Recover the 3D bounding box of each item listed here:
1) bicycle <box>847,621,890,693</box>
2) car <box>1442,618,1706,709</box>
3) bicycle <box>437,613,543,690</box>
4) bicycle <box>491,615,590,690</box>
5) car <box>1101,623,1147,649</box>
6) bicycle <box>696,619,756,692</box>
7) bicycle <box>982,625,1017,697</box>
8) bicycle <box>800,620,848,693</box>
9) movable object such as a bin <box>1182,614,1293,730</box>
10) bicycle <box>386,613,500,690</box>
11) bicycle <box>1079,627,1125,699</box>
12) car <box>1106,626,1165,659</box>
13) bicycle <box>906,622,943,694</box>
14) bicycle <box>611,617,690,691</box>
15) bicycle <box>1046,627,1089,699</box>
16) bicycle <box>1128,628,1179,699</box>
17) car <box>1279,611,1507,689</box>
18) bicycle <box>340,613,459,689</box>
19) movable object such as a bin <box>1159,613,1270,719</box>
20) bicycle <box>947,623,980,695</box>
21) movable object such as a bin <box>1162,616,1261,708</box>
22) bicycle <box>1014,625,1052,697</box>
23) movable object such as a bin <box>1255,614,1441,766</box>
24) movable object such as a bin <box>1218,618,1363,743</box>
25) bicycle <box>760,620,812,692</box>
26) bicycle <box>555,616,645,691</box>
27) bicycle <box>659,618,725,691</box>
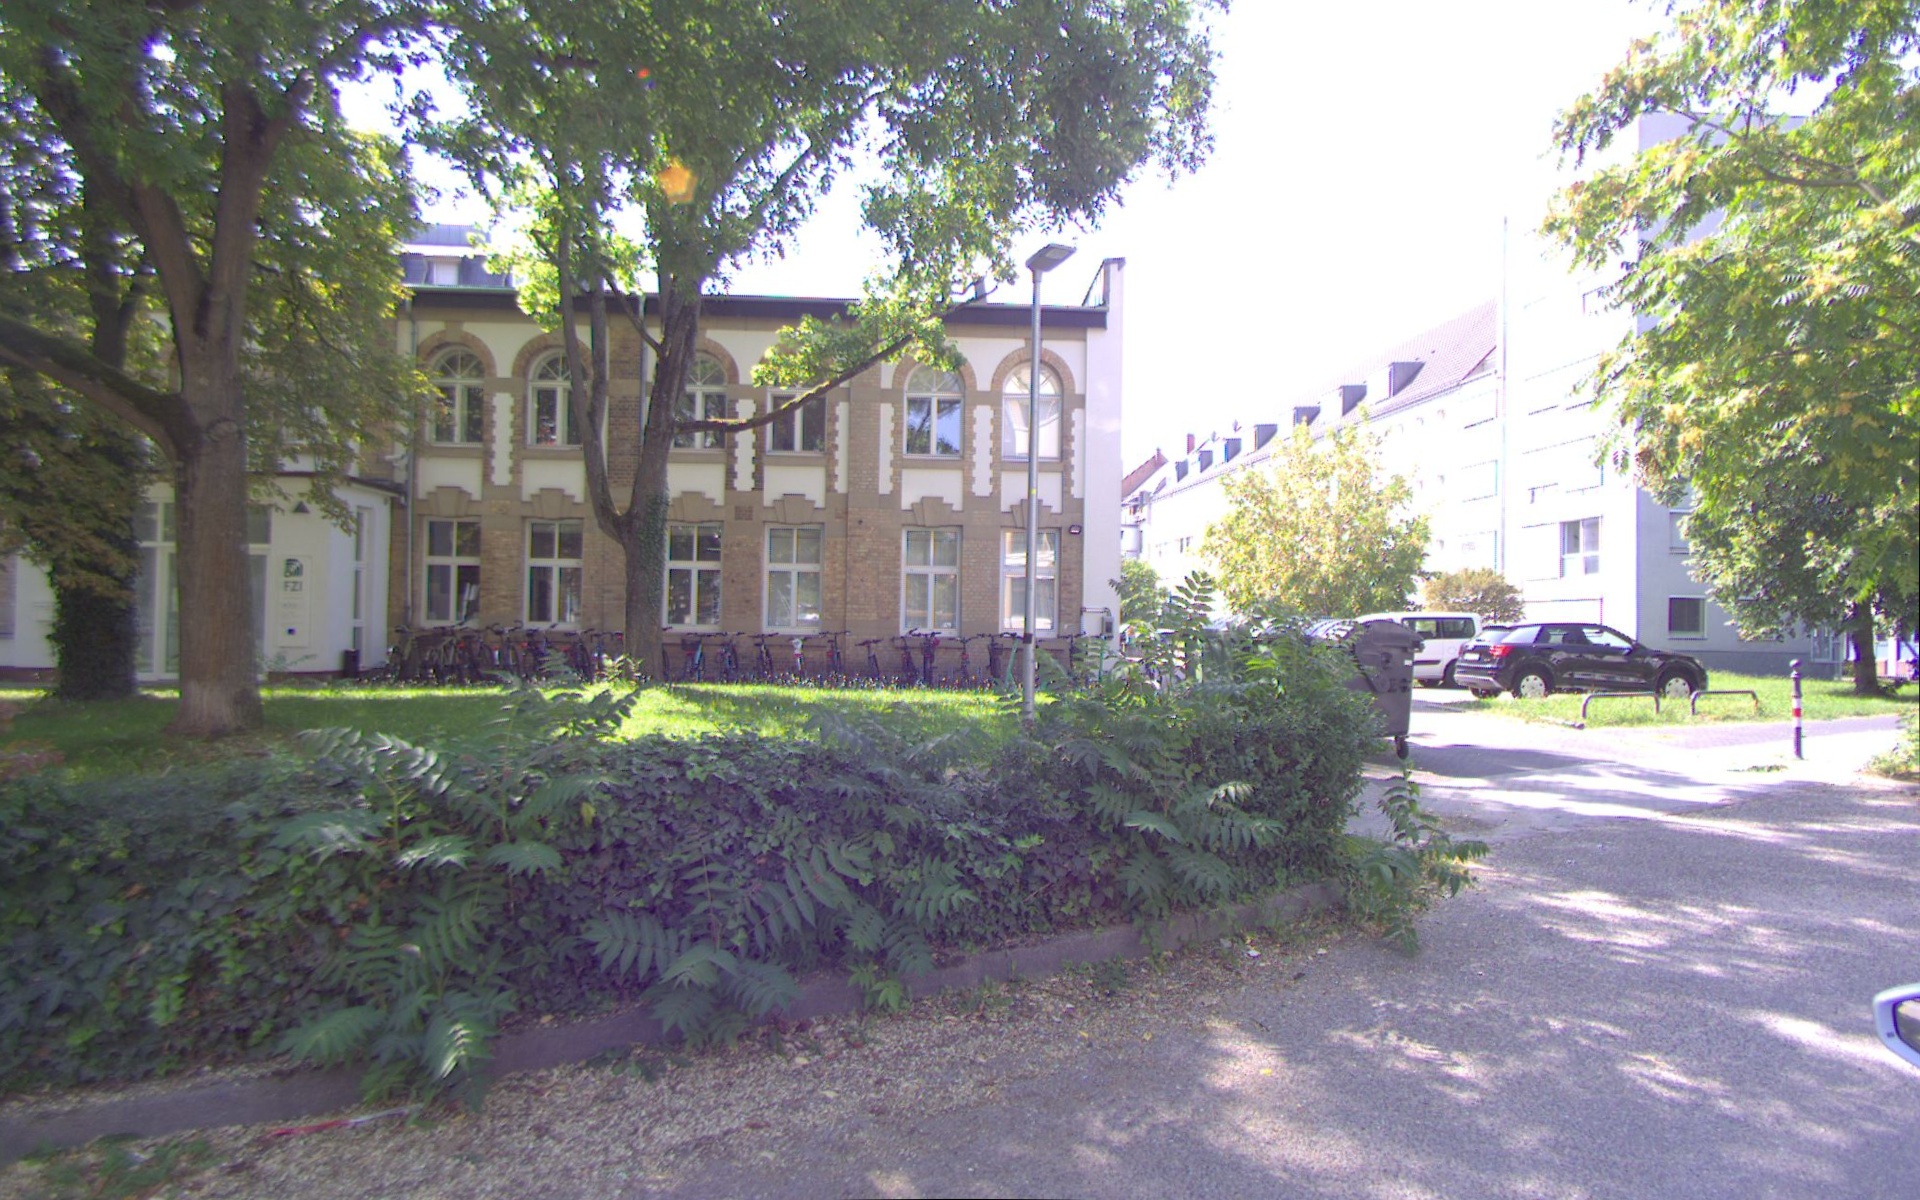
[{"bbox_3d":[-1.759,1.086,19.504,0.597,1.320,2.174,1,-2,0],"label":"bicycle"},{"bbox_3d":[11.298,1.141,18.688,3.834,1.548,1.708,1,-1,3],"label":"car"},{"bbox_3d":[-8.738,0.945,18.816,0.756,1.320,2.527,1,-2,0],"label":"bicycle"},{"bbox_3d":[-7.853,0.974,18.955,0.756,1.320,2.527,1,-2,0],"label":"bicycle"},{"bbox_3d":[10.270,2.281,63.021,1.767,1.530,3.996,1,-2,-8],"label":"car"},{"bbox_3d":[-4.500,1.056,19.460,0.597,1.320,2.174,1,-2,0],"label":"bicycle"},{"bbox_3d":[0.742,1.159,19.559,0.597,1.320,2.174,1,-2,0],"label":"bicycle"},{"bbox_3d":[-2.611,1.069,19.445,0.597,1.320,2.174,1,-2,0],"label":"bicycle"},{"bbox_3d":[3.768,0.962,13.711,1.081,1.501,1.100,1,0,-9],"label":"movable object such as a bin"},{"bbox_3d":[-9.526,0.945,18.646,0.756,1.320,2.527,1,-2,0],"label":"bicycle"},{"bbox_3d":[2.759,1.206,19.717,0.597,1.320,2.174,1,-2,0],"label":"bicycle"},{"bbox_3d":[8.732,2.122,50.338,1.767,1.530,3.996,1,-2,-8],"label":"car"},{"bbox_3d":[-0.674,1.105,19.489,0.597,1.320,2.174,1,-2,0],"label":"bicycle"},{"bbox_3d":[-5.910,1.022,19.323,0.756,1.320,2.274,1,-2,0],"label":"bicycle"},{"bbox_3d":[2.088,1.205,19.704,0.597,1.320,2.174,1,-2,0],"label":"bicycle"},{"bbox_3d":[3.801,1.230,19.848,0.597,1.320,2.174,1,-2,0],"label":"bicycle"},{"bbox_3d":[11.381,1.296,26.700,4.984,1.906,2.502,1,-1,-1],"label":"car"},{"bbox_3d":[-10.398,0.935,18.772,0.756,1.320,2.527,1,-2,0],"label":"bicycle"},{"bbox_3d":[3.809,0.968,15.138,1.227,1.515,1.205,1,-1,-9],"label":"movable object such as a bin"},{"bbox_3d":[0.072,1.124,19.652,0.597,1.320,2.174,1,-2,0],"label":"bicycle"},{"bbox_3d":[4.206,1.017,16.887,1.227,1.463,1.205,1,-1,-9],"label":"movable object such as a bin"},{"bbox_3d":[1.413,1.176,19.677,0.597,1.320,2.174,1,-2,0],"label":"bicycle"},{"bbox_3d":[4.173,0.924,10.914,1.314,1.513,1.368,1,-1,-17],"label":"movable object such as a bin"},{"bbox_3d":[4.074,0.972,12.505,1.227,1.451,1.330,1,-1,-10],"label":"movable object such as a bin"},{"bbox_3d":[-3.367,1.070,19.610,0.597,1.320,2.174,1,-2,0],"label":"bicycle"},{"bbox_3d":[-6.855,1.009,19.280,0.756,1.320,2.527,1,-2,0],"label":"bicycle"},{"bbox_3d":[-5.147,1.034,19.412,0.615,1.320,2.274,1,-2,0],"label":"bicycle"}]
